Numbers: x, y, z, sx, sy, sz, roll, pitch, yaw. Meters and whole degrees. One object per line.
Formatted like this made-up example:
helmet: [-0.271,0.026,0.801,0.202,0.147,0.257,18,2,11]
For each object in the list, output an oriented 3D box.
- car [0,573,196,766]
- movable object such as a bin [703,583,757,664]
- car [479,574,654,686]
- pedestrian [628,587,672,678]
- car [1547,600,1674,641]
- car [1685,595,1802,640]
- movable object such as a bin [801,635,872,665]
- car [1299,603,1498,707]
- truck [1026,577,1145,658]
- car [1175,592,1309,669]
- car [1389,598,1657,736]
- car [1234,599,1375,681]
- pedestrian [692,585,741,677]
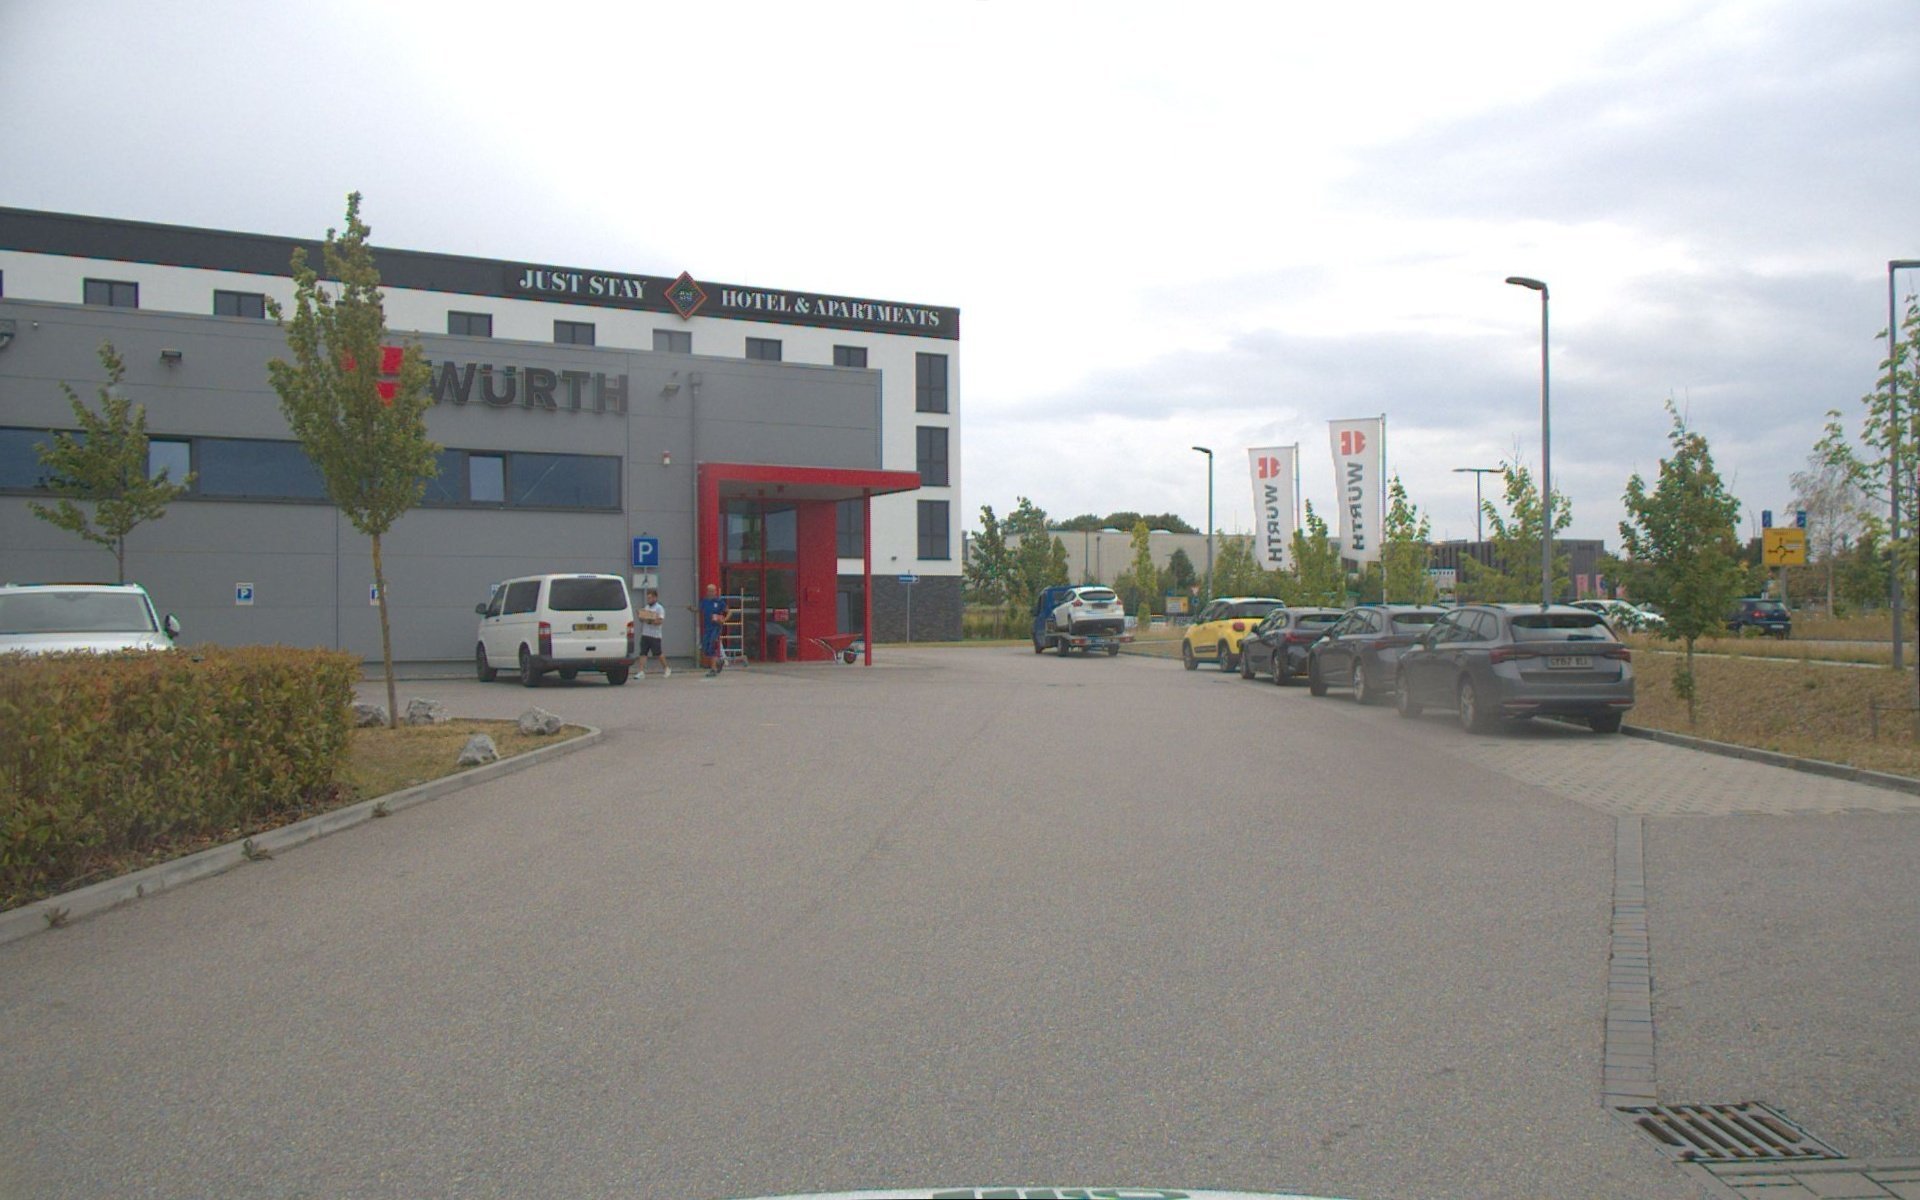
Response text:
car: [-9.056,0.667,17.101,1.970,1.679,4.539,-2,0,-26]
movable object such as a bin: [-5.039,0.508,36.239,0.900,1.701,0.736,-3,0,-29]
car: [-7.386,0.553,30.780,2.035,1.888,4.018,-2,0,-31]
pedestrian: [-6.136,0.633,32.759,0.610,1.782,0.906,-1,0,7]
car: [23.564,0.733,60.069,1.737,1.419,4.531,-1,0,-20]
car: [28.735,0.626,60.807,1.886,1.512,4.416,-2,0,-5]
movable object such as a bin: [-2.977,1.202,39.812,1.468,0.716,0.958,1,-1,-23]
car: [6.740,0.798,25.930,1.716,1.495,4.473,0,0,-3]
truck: [4.055,0.556,55.212,2.288,2.448,7.882,-2,0,-8]
car: [6.523,0.718,38.676,1.823,1.679,3.989,1,-1,-11]
car: [6.704,0.739,20.221,1.716,1.495,4.475,0,0,-1]
car: [6.641,0.736,32.313,1.716,1.495,4.105,0,0,-3]
pedestrian: [-4.942,0.618,33.539,0.662,1.834,0.881,-1,-1,17]
